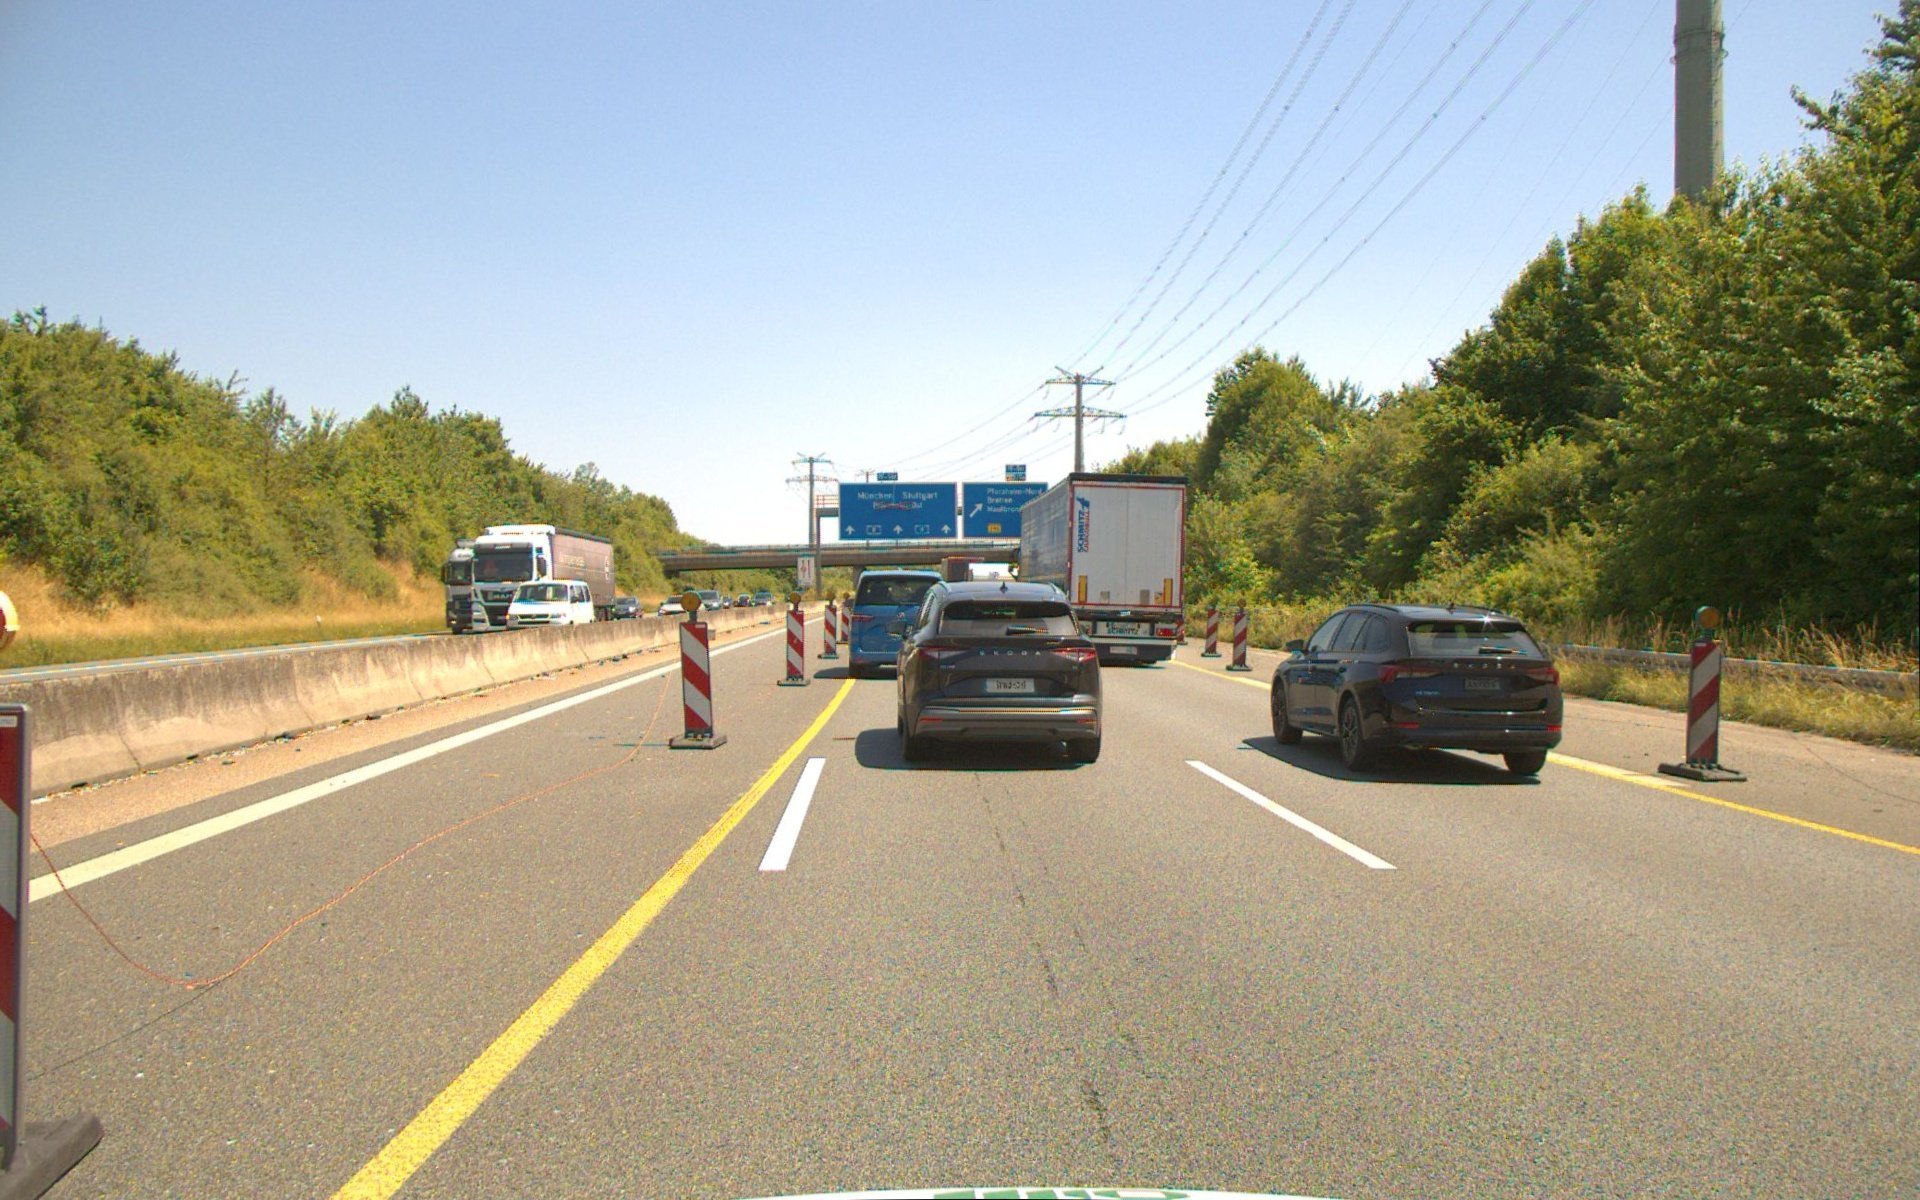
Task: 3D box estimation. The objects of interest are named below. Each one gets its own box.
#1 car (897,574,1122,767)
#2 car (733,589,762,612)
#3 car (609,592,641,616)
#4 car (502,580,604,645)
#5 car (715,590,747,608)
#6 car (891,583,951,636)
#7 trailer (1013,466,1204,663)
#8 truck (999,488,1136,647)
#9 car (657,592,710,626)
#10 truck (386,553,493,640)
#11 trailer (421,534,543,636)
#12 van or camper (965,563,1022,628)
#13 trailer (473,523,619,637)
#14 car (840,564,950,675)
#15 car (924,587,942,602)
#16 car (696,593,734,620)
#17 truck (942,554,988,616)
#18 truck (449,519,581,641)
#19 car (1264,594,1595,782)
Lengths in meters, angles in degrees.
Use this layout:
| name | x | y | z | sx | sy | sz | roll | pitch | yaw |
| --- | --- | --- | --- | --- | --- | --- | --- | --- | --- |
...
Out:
| name | x | y | z | sx | sy | sz | roll | pitch | yaw |
| --- | --- | --- | --- | --- | --- | --- | --- | --- | --- |
| car | 0.342 | 0.568 | 16.215 | 1.858 | 1.620 | 4.440 | 0 | 1 | -3 |
| car | -16.618 | -0.001 | 129.566 | 1.804 | 1.744 | 4.395 | -1 | 0 | -1 |
| car | -21.548 | 0.243 | 106.411 | 1.473 | 1.421 | 4.086 | -1 | 0 | -4 |
| car | -12.189 | 0.350 | 49.877 | 1.829 | 1.824 | 5.454 | -1 | 0 | -1 |
| car | -18.756 | -0.096 | 135.678 | 1.953 | 1.486 | 4.586 | -1 | 0 | -1 |
| car | -1.361 | 0.278 | 56.288 | 1.858 | 1.535 | 4.441 | 2 | 2 | -3 |
| trailer | 3.319 | -0.787 | 40.553 | 3.004 | 4.113 | 11.480 | 0 | 0 | -3 |
| truck | 2.936 | -0.895 | 47.485 | 2.964 | 4.158 | 7.790 | 1 | 0 | -3 |
| car | -12.900 | 0.409 | 77.485 | 1.726 | 1.497 | 4.633 | -1 | 0 | -1 |
| truck | -21.298 | -0.159 | 68.002 | 2.415 | 3.345 | 6.921 | -1 | 0 | -2 |
| trailer | -21.581 | -0.655 | 75.480 | 2.430 | 4.253 | 12.080 | -1 | 0 | -2 |
| van or camper | 1.633 | -0.242 | 82.996 | 2.534 | 3.020 | 6.083 | 2 | 0 | -1 |
| trailer | -17.022 | -0.804 | 69.206 | 3.097 | 4.253 | 13.678 | -1 | 0 | -2 |
| car | -1.232 | 0.355 | 30.809 | 1.858 | 1.874 | 4.439 | 1 | -1 | -3 |
| car | -3.160 | -0.646 | 194.019 | 1.858 | 1.535 | 4.441 | 2 | 2 | -3 |
| car | -14.182 | 0.366 | 95.878 | 1.583 | 1.467 | 3.989 | -1 | 0 | 0 |
| truck | 0.250 | -1.084 | 120.458 | 3.015 | 4.219 | 13.051 | 1 | 0 | -1 |
| truck | -16.811 | -0.733 | 63.033 | 3.100 | 4.298 | 7.412 | -1 | 0 | -2 |
| car | 4.296 | 0.719 | 15.896 | 1.743 | 1.515 | 4.462 | 1 | 0 | -2 |
